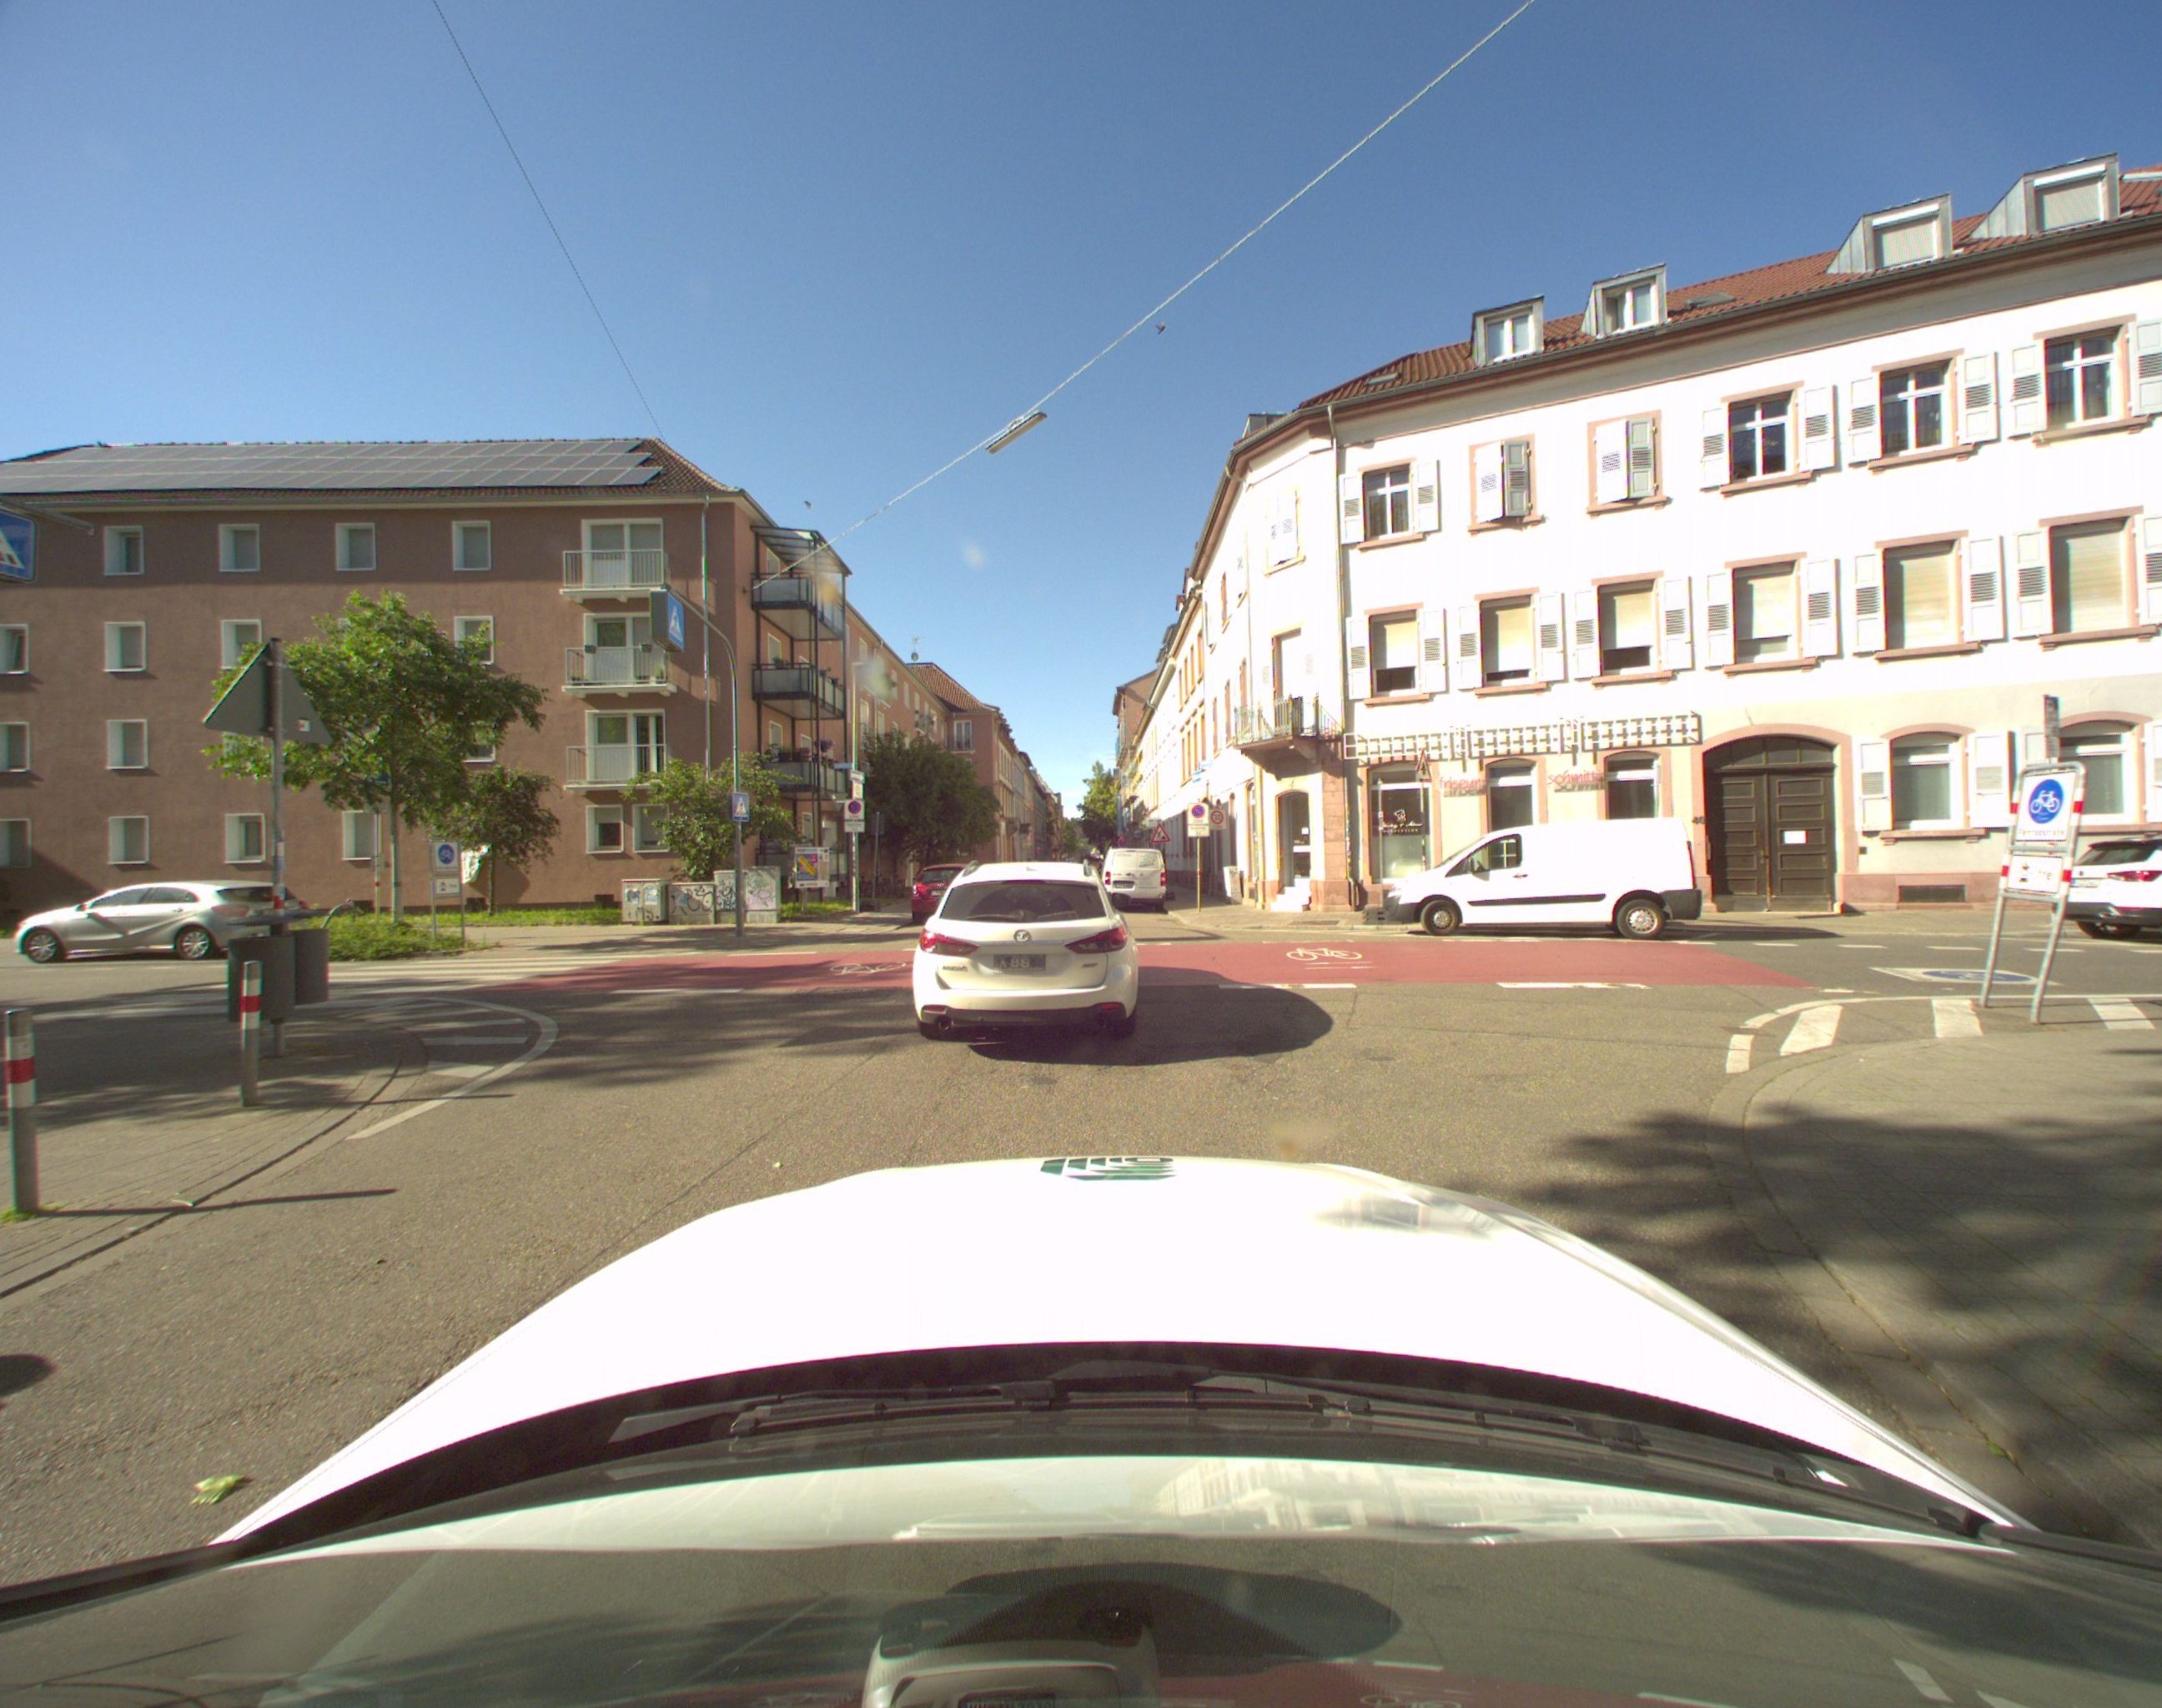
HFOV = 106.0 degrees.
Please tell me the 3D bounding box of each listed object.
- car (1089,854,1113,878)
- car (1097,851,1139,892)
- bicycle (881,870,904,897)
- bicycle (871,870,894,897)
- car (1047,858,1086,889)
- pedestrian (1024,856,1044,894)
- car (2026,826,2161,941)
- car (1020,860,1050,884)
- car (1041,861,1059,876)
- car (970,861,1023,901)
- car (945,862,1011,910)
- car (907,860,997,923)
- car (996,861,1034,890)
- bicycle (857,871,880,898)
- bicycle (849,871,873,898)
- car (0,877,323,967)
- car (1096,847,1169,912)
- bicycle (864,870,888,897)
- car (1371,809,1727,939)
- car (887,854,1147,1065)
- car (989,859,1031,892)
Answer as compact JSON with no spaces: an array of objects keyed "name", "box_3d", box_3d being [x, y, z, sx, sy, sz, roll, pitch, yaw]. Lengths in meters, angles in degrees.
[{"name":"car","box_3d":[1.670,0.996,67.195,1.888,1.859,3.996,-1,0,1]},{"name":"car","box_3d":[1.780,0.813,39.976,1.888,1.859,3.996,-1,0,1]},{"name":"bicycle","box_3d":[-7.814,1.220,33.763,1.204,1.071,0.255,-2,-1,40]},{"name":"bicycle","box_3d":[-8.221,1.226,33.700,1.201,1.071,0.255,-2,-1,40]},{"name":"car","box_3d":[-0.698,0.946,41.096,1.754,1.410,4.329,-1,0,1]},{"name":"pedestrian","box_3d":[-2.059,0.915,35.512,0.733,1.614,0.813,-2,-1,-11]},{"name":"car","box_3d":[16.390,0.373,11.055,4.330,1.542,1.655,-1,-2,23]},{"name":"car","box_3d":[-3.048,1.185,54.877,1.647,1.500,3.764,-1,0,1]},{"name":"car","box_3d":[-3.251,1.526,86.251,1.647,1.500,3.764,-1,0,1]},{"name":"car","box_3d":[-3.435,1.067,33.561,1.647,1.500,3.764,-1,0,1]},{"name":"car","box_3d":[-3.527,1.050,28.496,1.647,1.500,4.081,-1,0,1]},{"name":"car","box_3d":[-3.446,0.965,22.413,1.679,1.500,3.807,-3,0,1]},{"name":"car","box_3d":[-3.583,1.135,44.497,1.647,1.500,3.764,-1,0,1]},{"name":"bicycle","box_3d":[-8.655,1.232,33.168,1.201,1.072,0.268,-2,-1,40]},{"name":"bicycle","box_3d":[-8.892,1.230,32.897,1.201,1.035,0.293,-2,-1,40]},{"name":"car","box_3d":[-17.360,1.242,15.509,4.128,1.454,1.745,-2,0,0]},{"name":"car","box_3d":[1.539,0.742,26.037,1.889,1.859,5.011,1,0,-1]},{"name":"bicycle","box_3d":[-8.422,1.212,33.459,1.201,1.071,0.255,-2,-1,40]},{"name":"car","box_3d":[7.788,0.352,14.122,4.963,1.946,2.063,-2,-1,25]},{"name":"car","box_3d":[-0.411,0.754,7.812,1.824,1.457,3.963,-1,0,1]},{"name":"car","box_3d":[-3.463,1.032,40.354,1.647,1.500,3.764,-1,0,1]}]
